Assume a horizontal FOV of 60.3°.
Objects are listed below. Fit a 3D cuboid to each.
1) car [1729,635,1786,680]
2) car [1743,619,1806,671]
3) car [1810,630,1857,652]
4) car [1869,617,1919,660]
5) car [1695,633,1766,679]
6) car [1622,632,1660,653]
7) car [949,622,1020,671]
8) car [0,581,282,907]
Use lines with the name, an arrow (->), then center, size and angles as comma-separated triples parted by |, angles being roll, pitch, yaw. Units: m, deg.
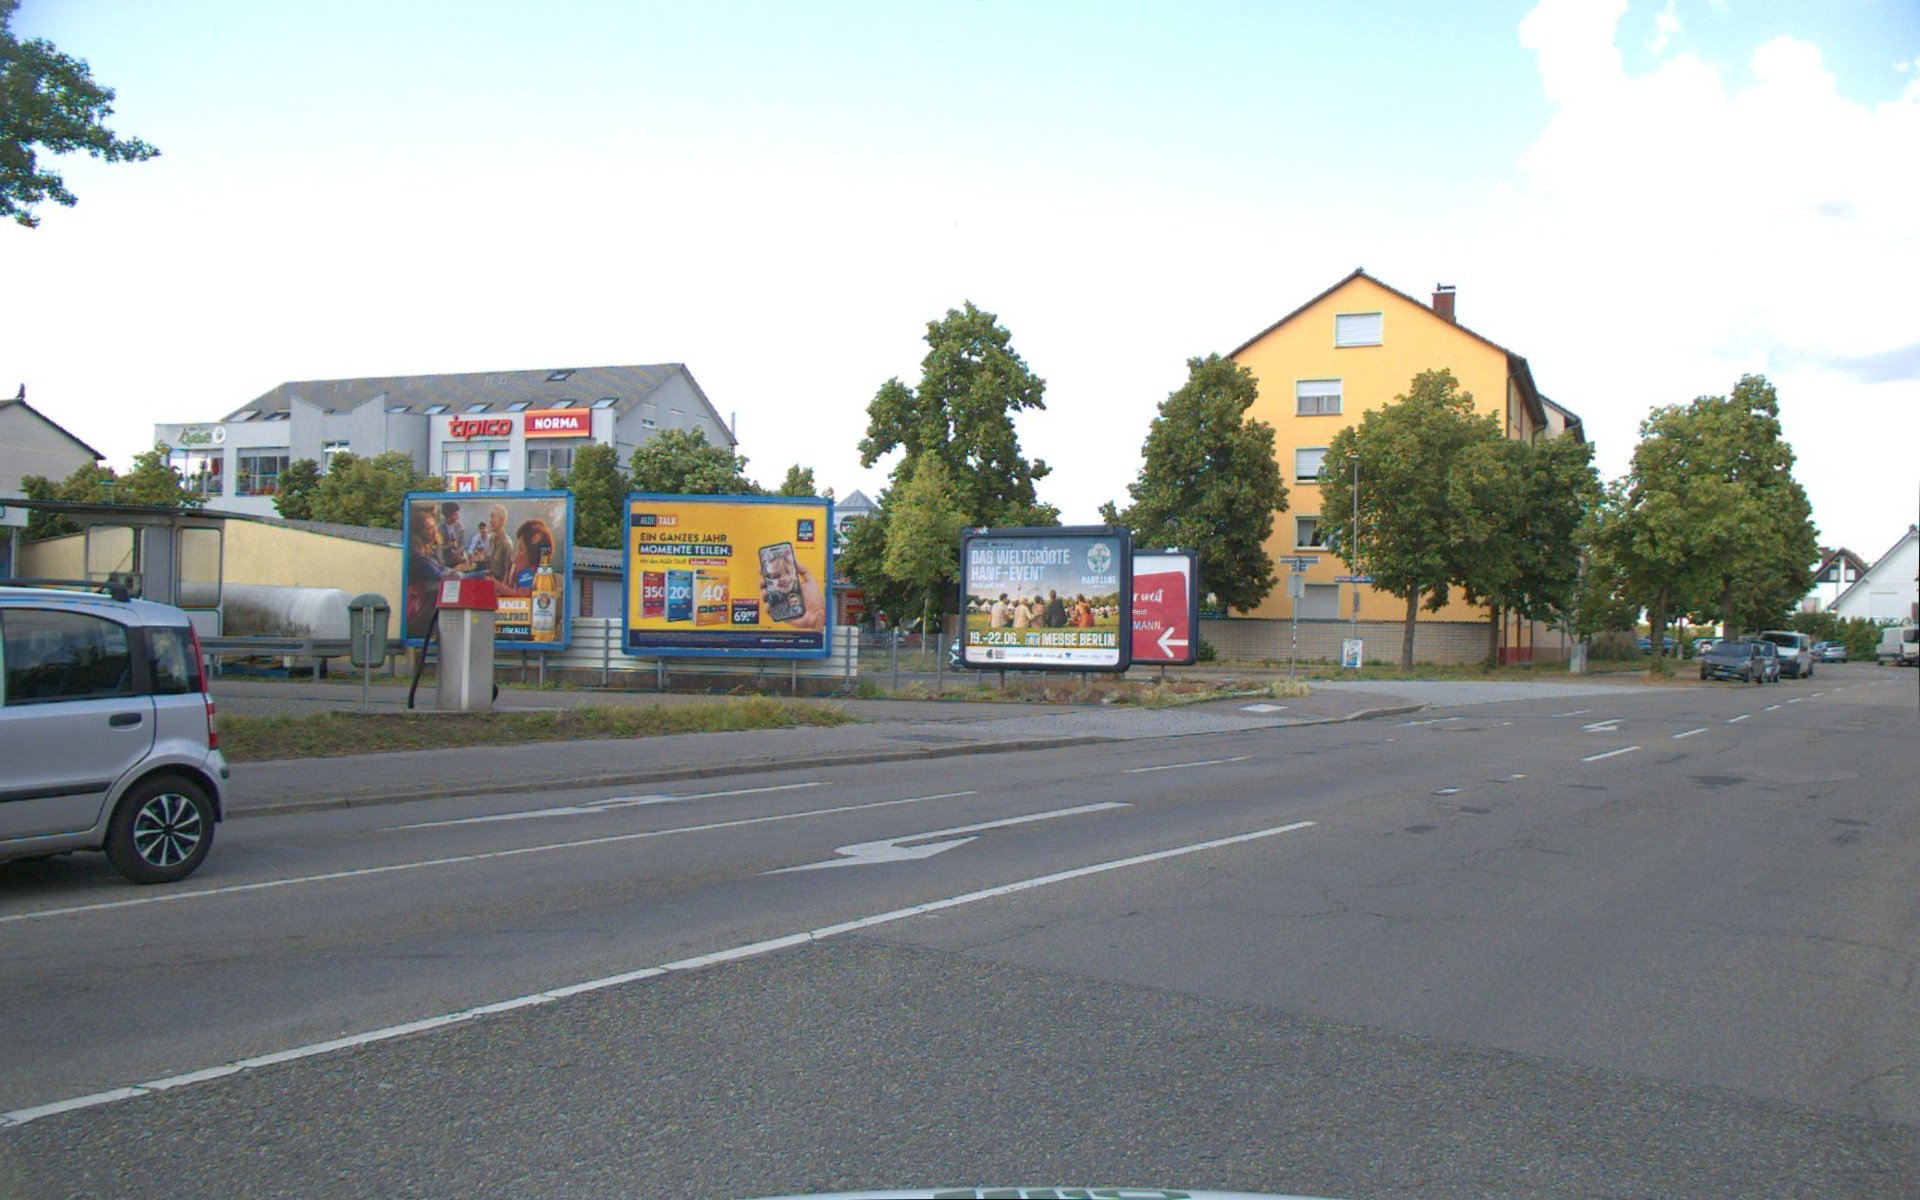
car -> 31.945, 2.258, 66.219 | 1.491, 1.575, 3.745 | 6, 3, 32
car -> 36.096, 1.956, 73.211 | 1.846, 2.044, 5.308 | 5, 2, 32
car -> 61.202, 2.831, 115.917 | 1.700, 1.483, 4.368 | 1, -1, 10
car -> 57.633, 2.347, 101.332 | 2.072, 2.484, 5.898 | 1, -1, 16
car -> 28.361, 2.063, 60.846 | 1.655, 1.512, 3.970 | 3, -1, 35
car -> 53.647, 3.371, 130.371 | 1.749, 1.482, 4.438 | 5, -1, 9
car -> 0.928, 1.652, 60.375 | 1.612, 1.619, 3.903 | 0, 1, 16
car -> -5.354, 0.668, 8.000 | 1.527, 1.544, 3.598 | 0, -1, 33
